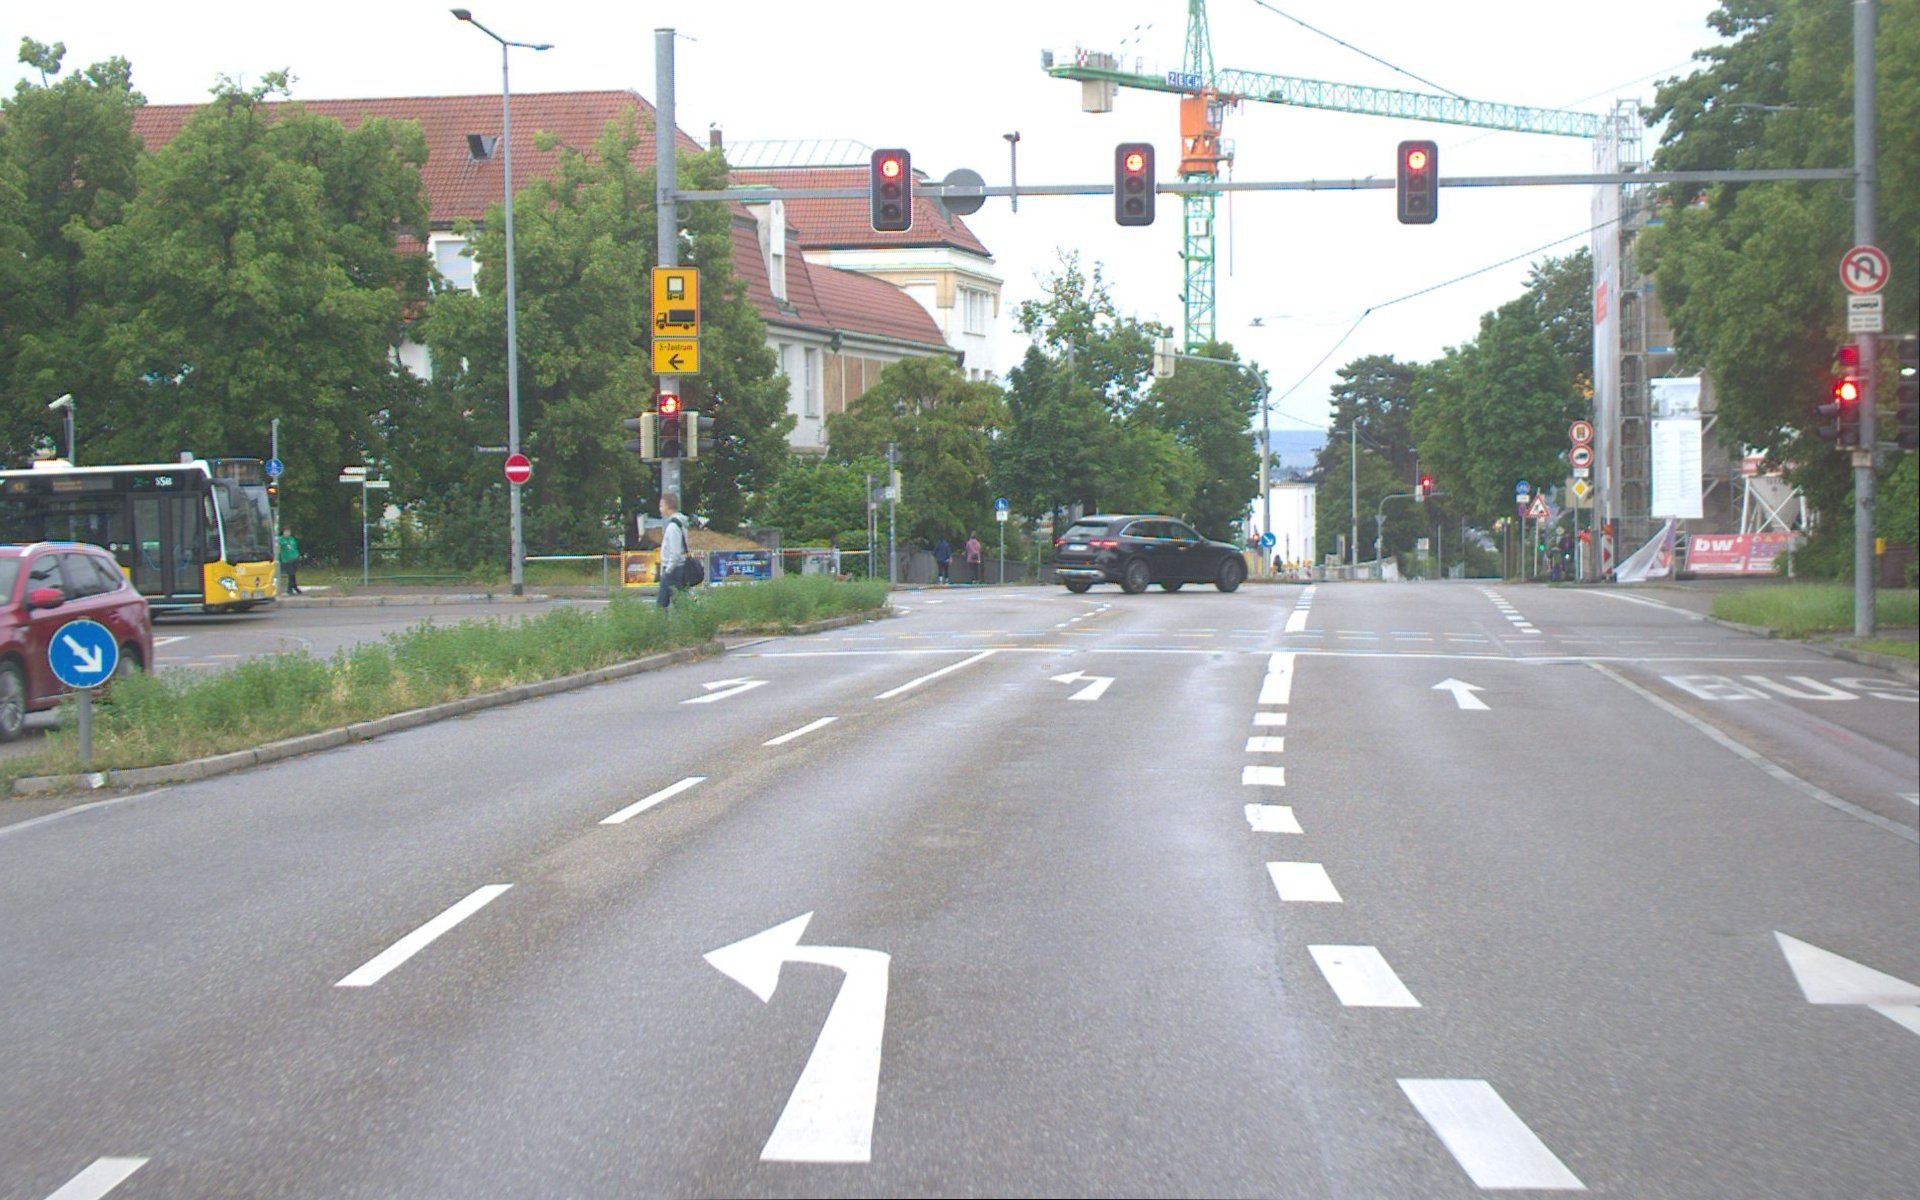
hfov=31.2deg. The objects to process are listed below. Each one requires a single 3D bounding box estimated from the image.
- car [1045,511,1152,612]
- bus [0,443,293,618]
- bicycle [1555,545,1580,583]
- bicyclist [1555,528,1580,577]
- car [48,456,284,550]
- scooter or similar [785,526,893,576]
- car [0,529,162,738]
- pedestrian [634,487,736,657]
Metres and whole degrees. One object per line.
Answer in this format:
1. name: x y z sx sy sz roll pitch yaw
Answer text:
1. car: 2.967 -0.775 72.816 1.945 2.014 4.550 1 0 6
2. bus: -17.550 -1.260 63.958 9.730 3.092 2.896 0 1 13
3. bicycle: 19.706 -1.155 111.504 0.720 1.189 1.755 1 0 8
4. bicyclist: 19.705 -1.547 111.471 0.720 1.558 1.142 1 0 8
5. car: -15.449 -1.882 67.009 3.988 1.700 1.999 1 0 10
6. scooter or similar: -3.604 -1.466 102.405 3.088 1.435 0.949 -1 1 5
7. car: -8.582 0.283 29.522 1.853 1.677 4.737 -3 1 6
8. pedestrian: -3.357 -0.346 42.065 0.941 2.007 0.847 -3 1 12
